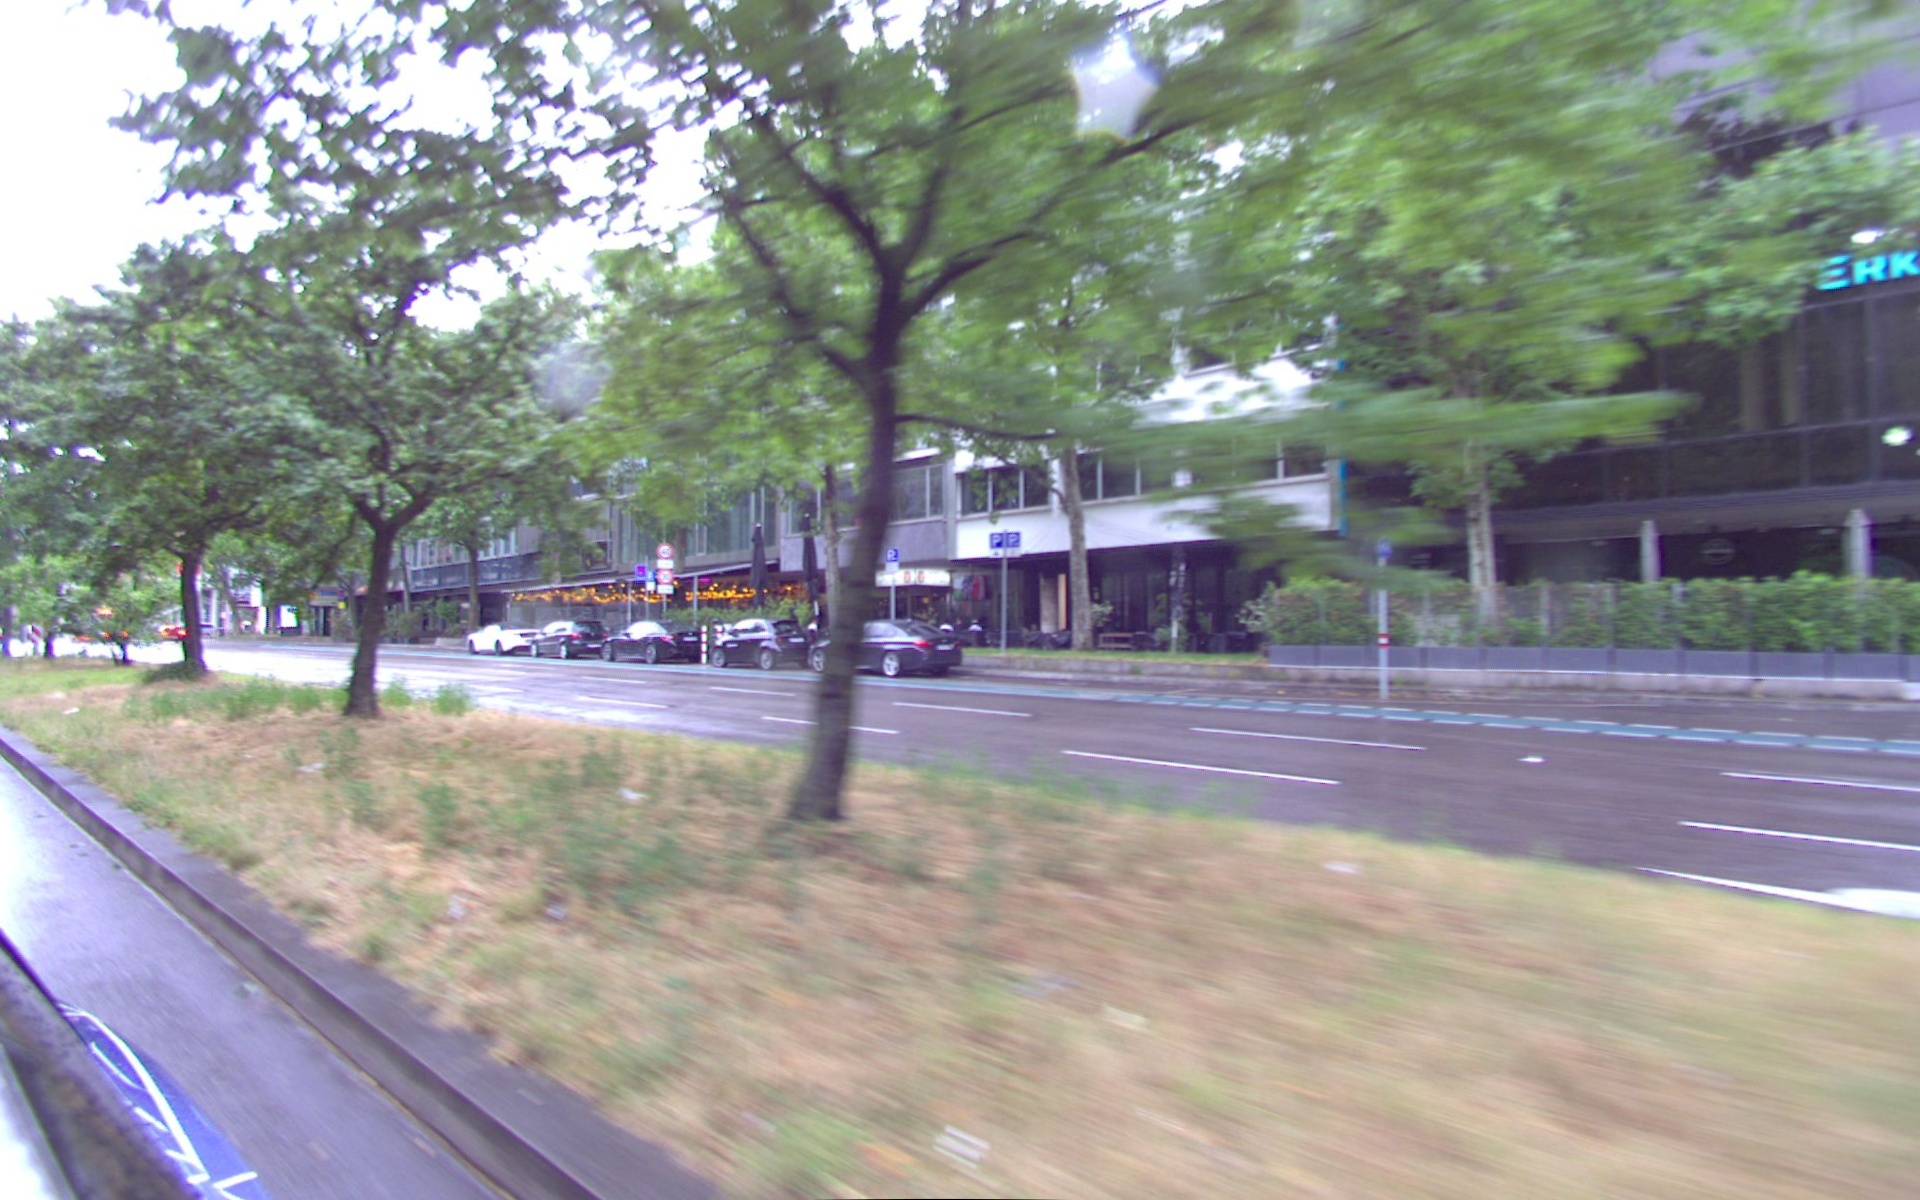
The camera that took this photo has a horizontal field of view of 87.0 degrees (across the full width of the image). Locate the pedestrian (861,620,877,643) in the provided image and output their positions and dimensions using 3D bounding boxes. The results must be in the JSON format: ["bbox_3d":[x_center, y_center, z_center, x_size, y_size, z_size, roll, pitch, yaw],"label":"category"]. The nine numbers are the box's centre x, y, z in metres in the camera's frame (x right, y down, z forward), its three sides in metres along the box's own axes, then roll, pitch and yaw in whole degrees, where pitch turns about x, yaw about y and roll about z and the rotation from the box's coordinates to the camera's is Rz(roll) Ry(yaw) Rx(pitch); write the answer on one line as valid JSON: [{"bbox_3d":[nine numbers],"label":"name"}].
[{"bbox_3d":[-3.464,1.184,38.470,0.433,0.856,0.435,-1,0,39],"label":"pedestrian"}]

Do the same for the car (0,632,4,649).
[{"bbox_3d":[-81.457,3.387,84.664,3.524,1.400,1.657,0,0,39],"label":"car"}]

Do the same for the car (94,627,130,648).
[{"bbox_3d":[-71.572,3.145,85.389,3.726,1.586,1.758,0,0,40],"label":"car"}]

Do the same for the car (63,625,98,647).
[{"bbox_3d":[-78.626,3.223,90.458,3.954,1.799,1.913,0,0,42],"label":"car"}]

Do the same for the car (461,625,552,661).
[{"bbox_3d":[-19.010,1.745,42.327,4.391,1.336,1.856,0,0,42],"label":"car"}]

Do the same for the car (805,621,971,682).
[{"bbox_3d":[-1.977,1.287,26.761,4.539,1.396,1.850,0,0,45],"label":"car"}]

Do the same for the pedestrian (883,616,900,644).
[{"bbox_3d":[-2.542,1.104,37.447,0.423,1.024,0.459,-1,0,39],"label":"pedestrian"}]

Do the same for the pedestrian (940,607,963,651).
[{"bbox_3d":[-0.324,1.106,39.184,0.623,1.660,0.599,-1,0,37],"label":"pedestrian"}]

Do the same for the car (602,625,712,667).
[{"bbox_3d":[-10.332,1.524,34.303,4.319,1.249,1.625,0,0,43],"label":"car"}]

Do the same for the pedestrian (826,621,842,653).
[{"bbox_3d":[-4.898,1.436,39.416,0.443,1.195,0.462,-1,0,29],"label":"pedestrian"}]

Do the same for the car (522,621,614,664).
[{"bbox_3d":[-14.931,1.568,38.487,3.788,1.464,1.727,0,0,42],"label":"car"}]

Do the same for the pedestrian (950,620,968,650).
[{"bbox_3d":[-0.030,1.202,35.161,0.488,1.008,0.481,-1,0,26],"label":"pedestrian"}]

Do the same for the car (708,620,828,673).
[{"bbox_3d":[-5.753,1.337,30.234,3.400,1.433,1.851,0,0,42],"label":"car"}]

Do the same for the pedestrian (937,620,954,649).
[{"bbox_3d":[-0.509,1.213,35.525,0.461,1.000,0.455,-1,0,26],"label":"pedestrian"}]

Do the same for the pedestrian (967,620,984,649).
[{"bbox_3d":[0.540,1.193,34.953,0.451,0.970,0.454,-1,0,26],"label":"pedestrian"}]

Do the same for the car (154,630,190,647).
[{"bbox_3d":[-66.692,3.248,85.642,3.737,1.335,1.742,0,0,42],"label":"car"}]
